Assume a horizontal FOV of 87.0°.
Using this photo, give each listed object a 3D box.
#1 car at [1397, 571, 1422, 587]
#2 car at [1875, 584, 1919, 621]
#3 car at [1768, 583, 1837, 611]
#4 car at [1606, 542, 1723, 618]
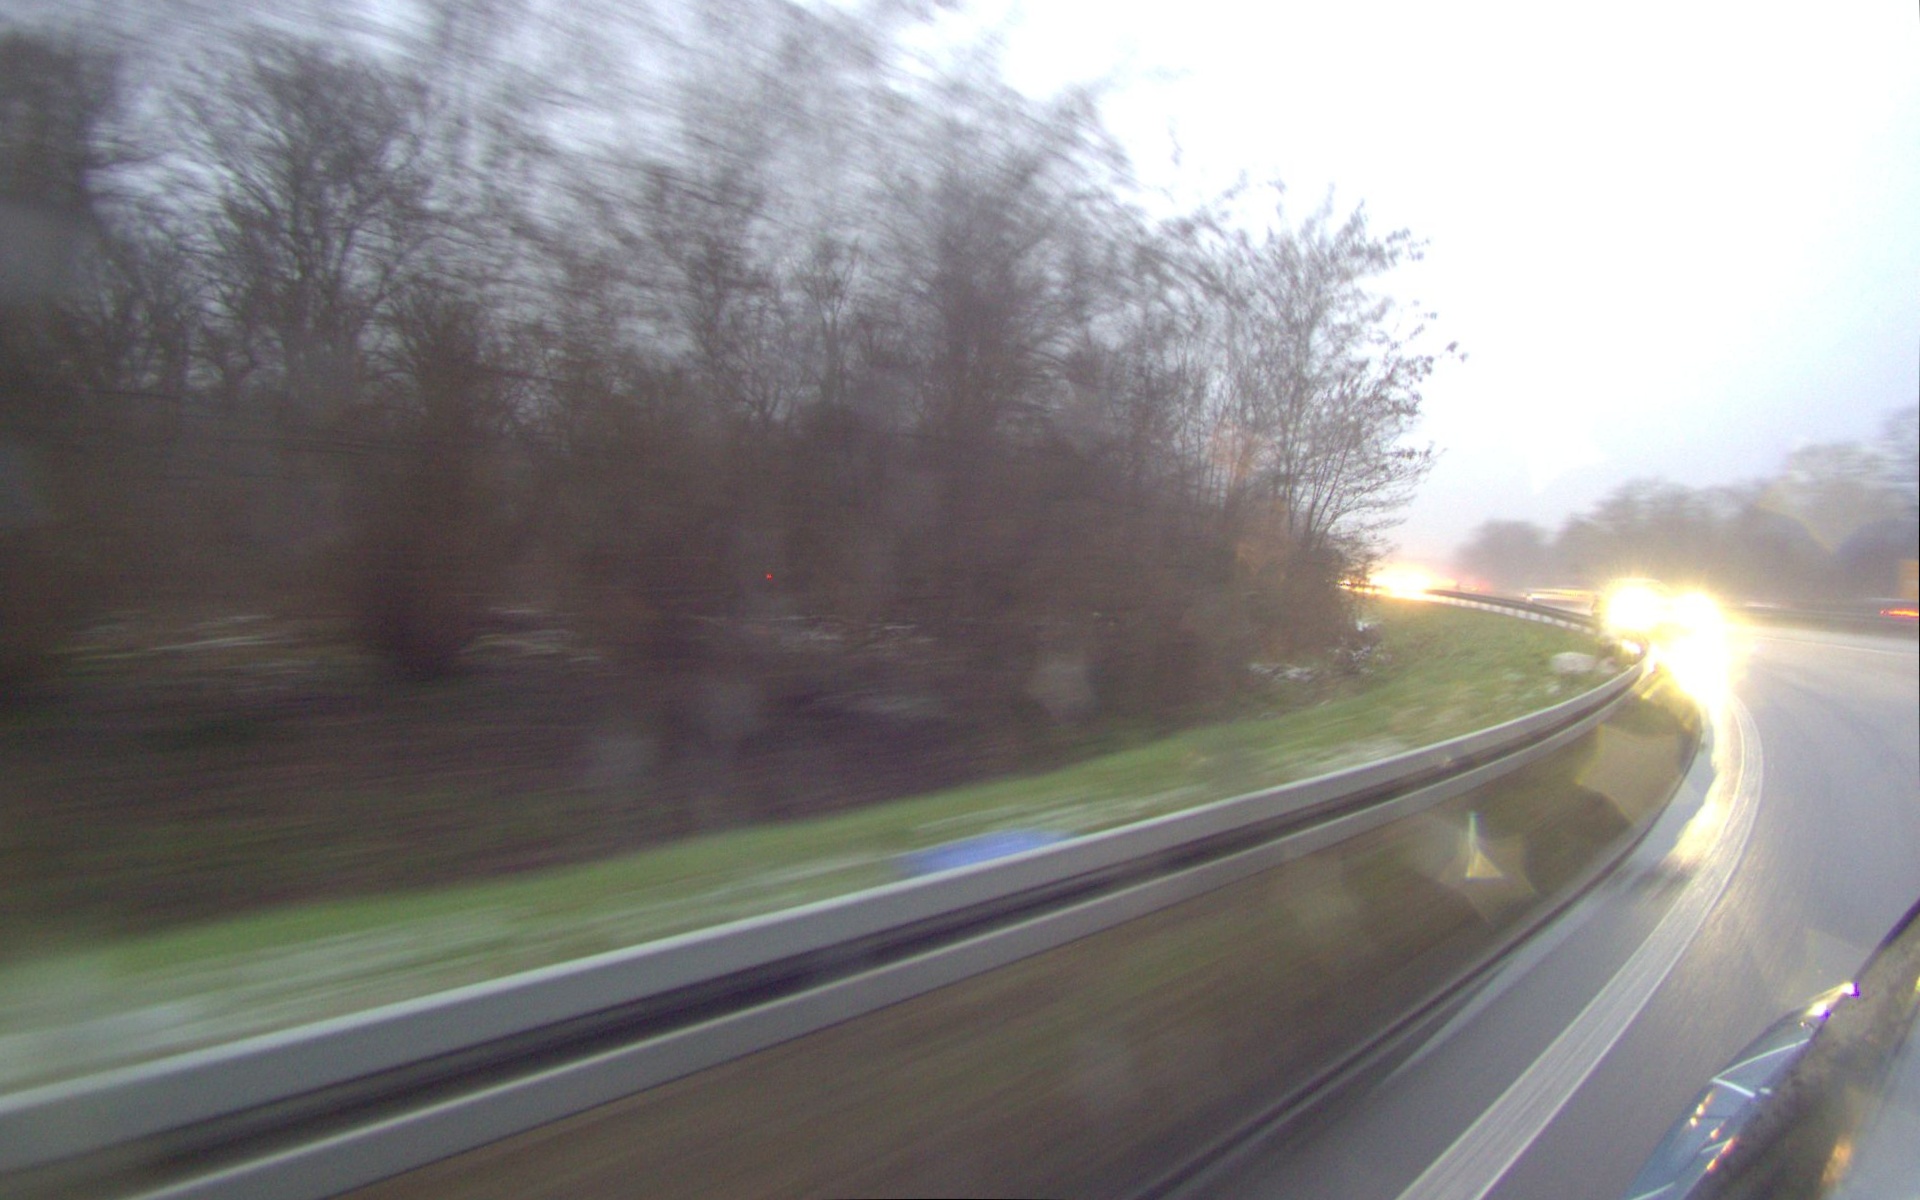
[{"bbox_3d":[36.347,-1.723,81.934,1.464,1.220,3.330,2,2,18],"label":"car"},{"bbox_3d":[43.577,0.117,45.532,1.733,1.589,4.177,1,2,13],"label":"car"},{"bbox_3d":[53.261,-0.220,64.078,1.736,1.589,4.376,1,2,17],"label":"car"},{"bbox_3d":[21.276,-0.615,30.743,1.978,2.038,3.934,4,2,22],"label":"car"}]
